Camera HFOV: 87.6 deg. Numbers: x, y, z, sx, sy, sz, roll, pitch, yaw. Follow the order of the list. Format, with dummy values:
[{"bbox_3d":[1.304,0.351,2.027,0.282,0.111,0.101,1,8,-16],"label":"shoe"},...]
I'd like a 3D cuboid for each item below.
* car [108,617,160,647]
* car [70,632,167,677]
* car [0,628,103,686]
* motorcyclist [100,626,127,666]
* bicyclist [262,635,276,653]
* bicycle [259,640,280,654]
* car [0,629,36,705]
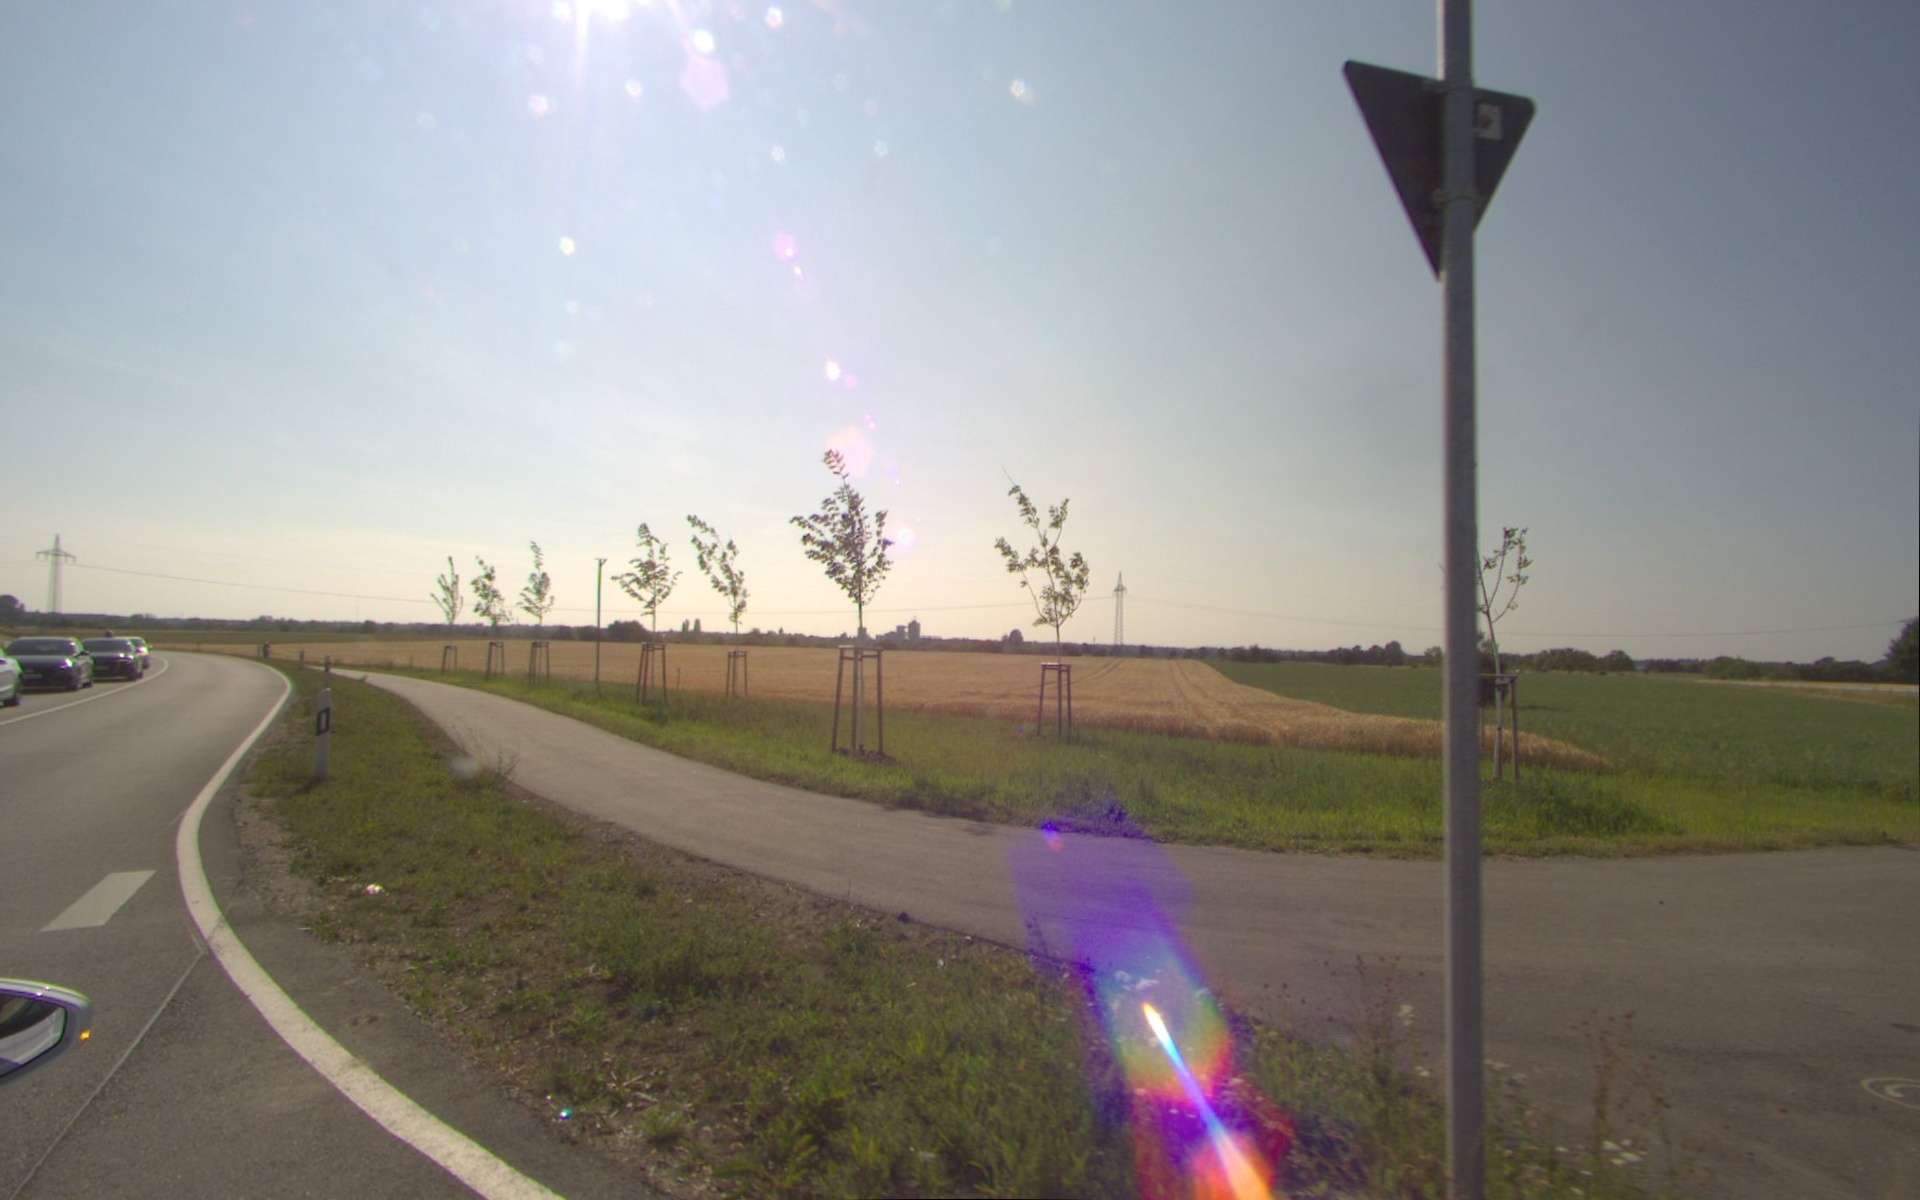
[{"bbox_3d":[-40.221,1.583,48.829,1.671,1.421,3.973,2,-2,-35],"label":"car"},{"bbox_3d":[-29.178,1.884,34.871,1.871,1.454,4.770,2,-3,-32],"label":"car"},{"bbox_3d":[-25.317,1.556,27.724,1.872,1.479,4.280,2,-3,-34],"label":"car"},{"bbox_3d":[-32.939,1.796,38.959,0.671,1.514,0.842,2,-2,-34],"label":"motorcyclist"},{"bbox_3d":[-59.195,3.781,85.780,0.807,1.474,0.636,0,-4,39],"label":"bicyclist"},{"bbox_3d":[-59.103,4.015,85.688,2.180,1.155,0.842,-1,-5,40],"label":"bicycle"},{"bbox_3d":[-20.099,1.311,19.946,1.872,1.485,4.248,2,-3,-35],"label":"car"}]
